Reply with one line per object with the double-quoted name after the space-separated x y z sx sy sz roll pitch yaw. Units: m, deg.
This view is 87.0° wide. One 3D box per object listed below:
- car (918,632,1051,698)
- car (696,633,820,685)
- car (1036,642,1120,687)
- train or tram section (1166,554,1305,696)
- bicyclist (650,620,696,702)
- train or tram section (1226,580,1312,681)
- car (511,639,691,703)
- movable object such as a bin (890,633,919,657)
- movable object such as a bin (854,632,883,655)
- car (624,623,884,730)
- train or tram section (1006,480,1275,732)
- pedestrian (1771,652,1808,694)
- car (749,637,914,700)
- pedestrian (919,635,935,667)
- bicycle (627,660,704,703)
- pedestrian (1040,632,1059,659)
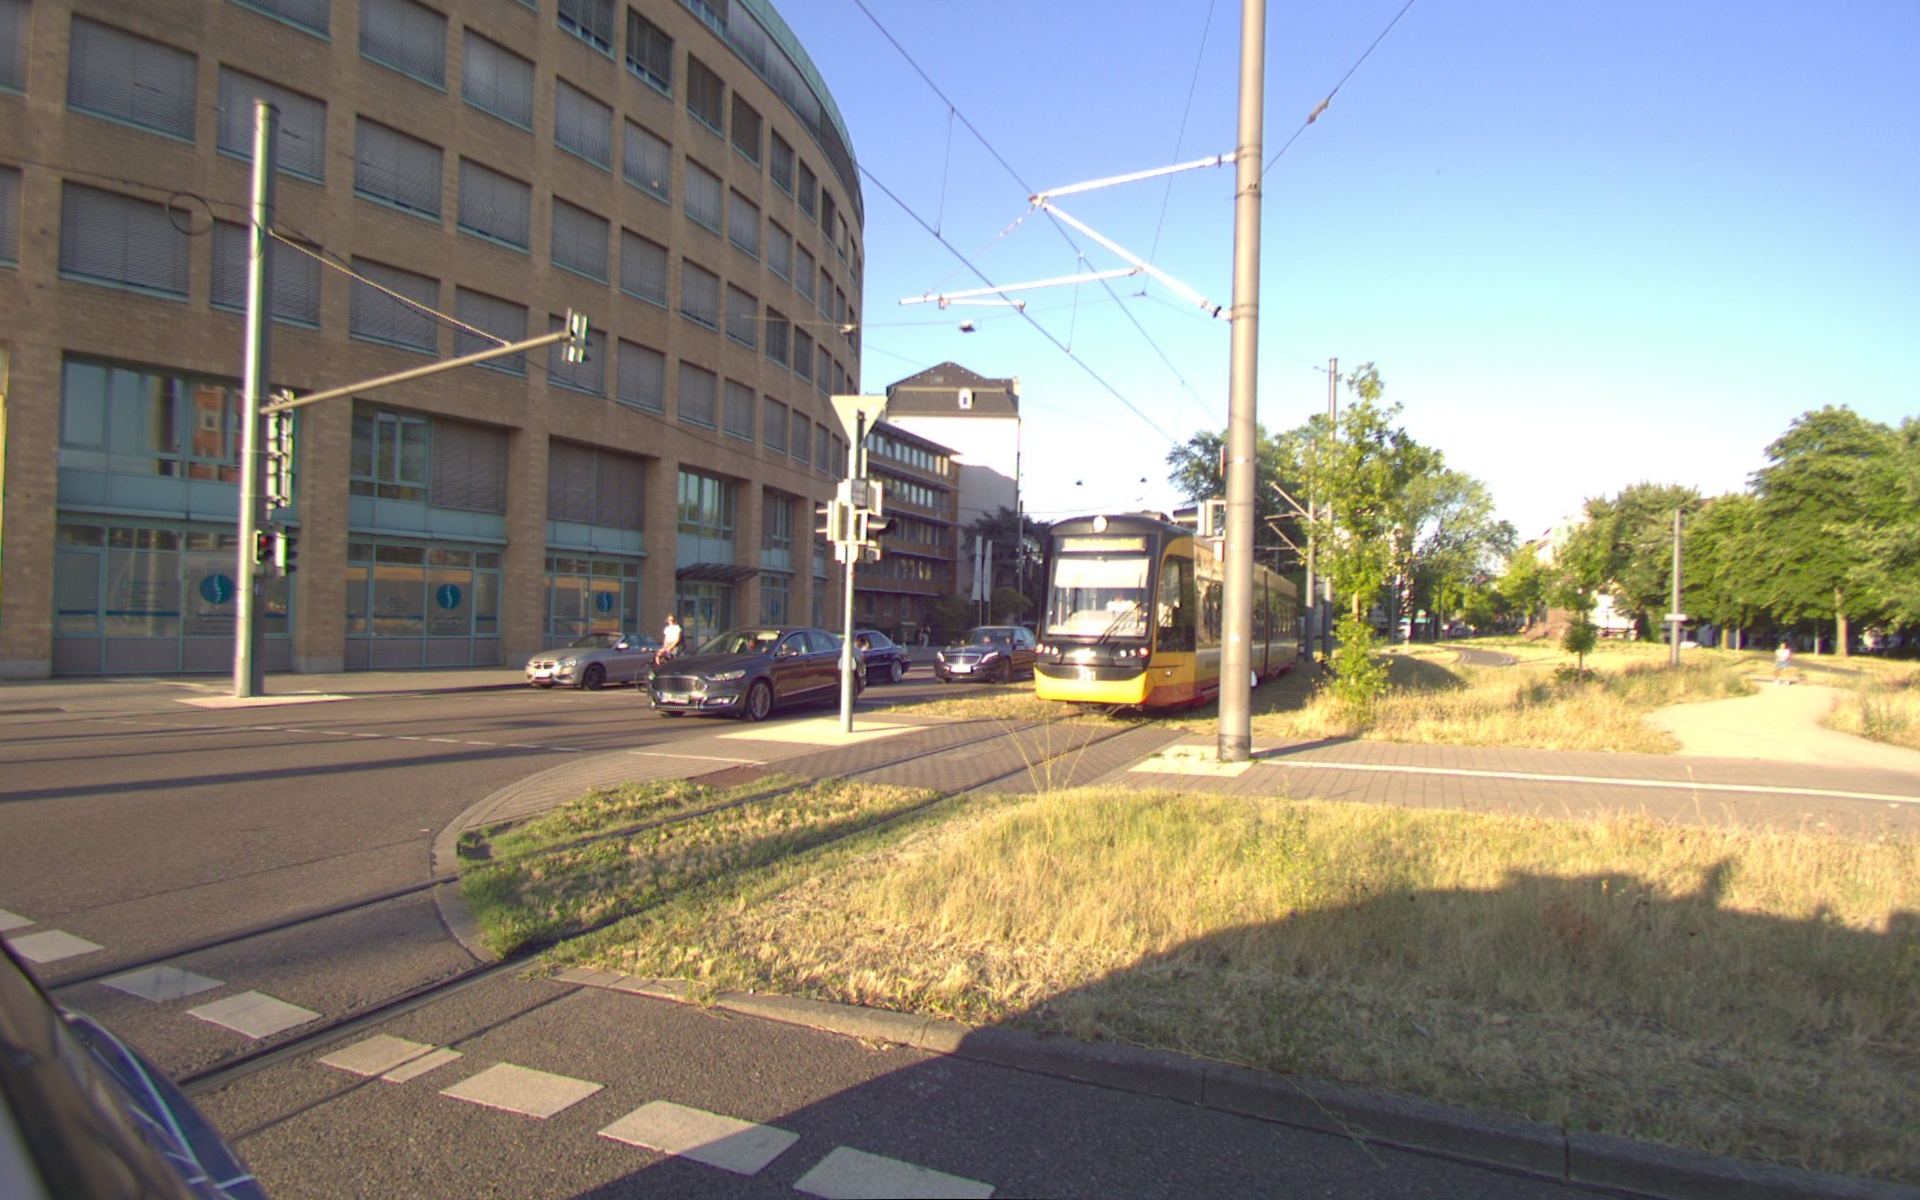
0.759 1.674 26.827 1.887 1.547 4.666 0 -2 24 "car"
-5.974 1.741 30.448 1.748 1.398 3.970 0 -2 22 "car"
4.287 2.269 36.187 1.986 1.472 4.113 0 -2 21 "car"
9.324 0.892 32.943 2.868 3.767 12.090 0 -2 22 "train or tram section"
-6.559 1.383 23.148 0.631 1.835 0.771 0 -2 22 "bicyclist"
13.654 1.371 44.008 2.893 3.767 12.107 0 -2 20 "train or tram section"
-8.665 1.684 24.825 1.739 1.396 4.192 -1 -3 24 "car"
-3.472 2.855 63.732 1.417 1.470 1.324 0 -2 20 "movable object such as a bin"
-5.889 2.803 65.432 1.418 1.470 1.323 0 -2 22 "movable object such as a bin"
-3.218 1.200 16.937 1.880 1.497 4.686 0 -2 24 "car"
4.620 0.345 21.785 2.899 3.767 13.115 0 -2 23 "train or tram section"
30.867 2.719 37.656 0.688 1.507 0.913 1 -2 10 "pedestrian"
-3.066 1.644 25.267 1.988 1.396 4.701 -1 -3 24 "car"
-1.765 2.712 53.912 0.623 1.694 0.709 -1 -3 20 "pedestrian"
-6.645 1.832 22.940 0.631 0.880 1.856 0 -2 22 "bicycle"
6.316 3.195 71.199 0.909 1.909 1.113 -1 -3 35 "pedestrian"
